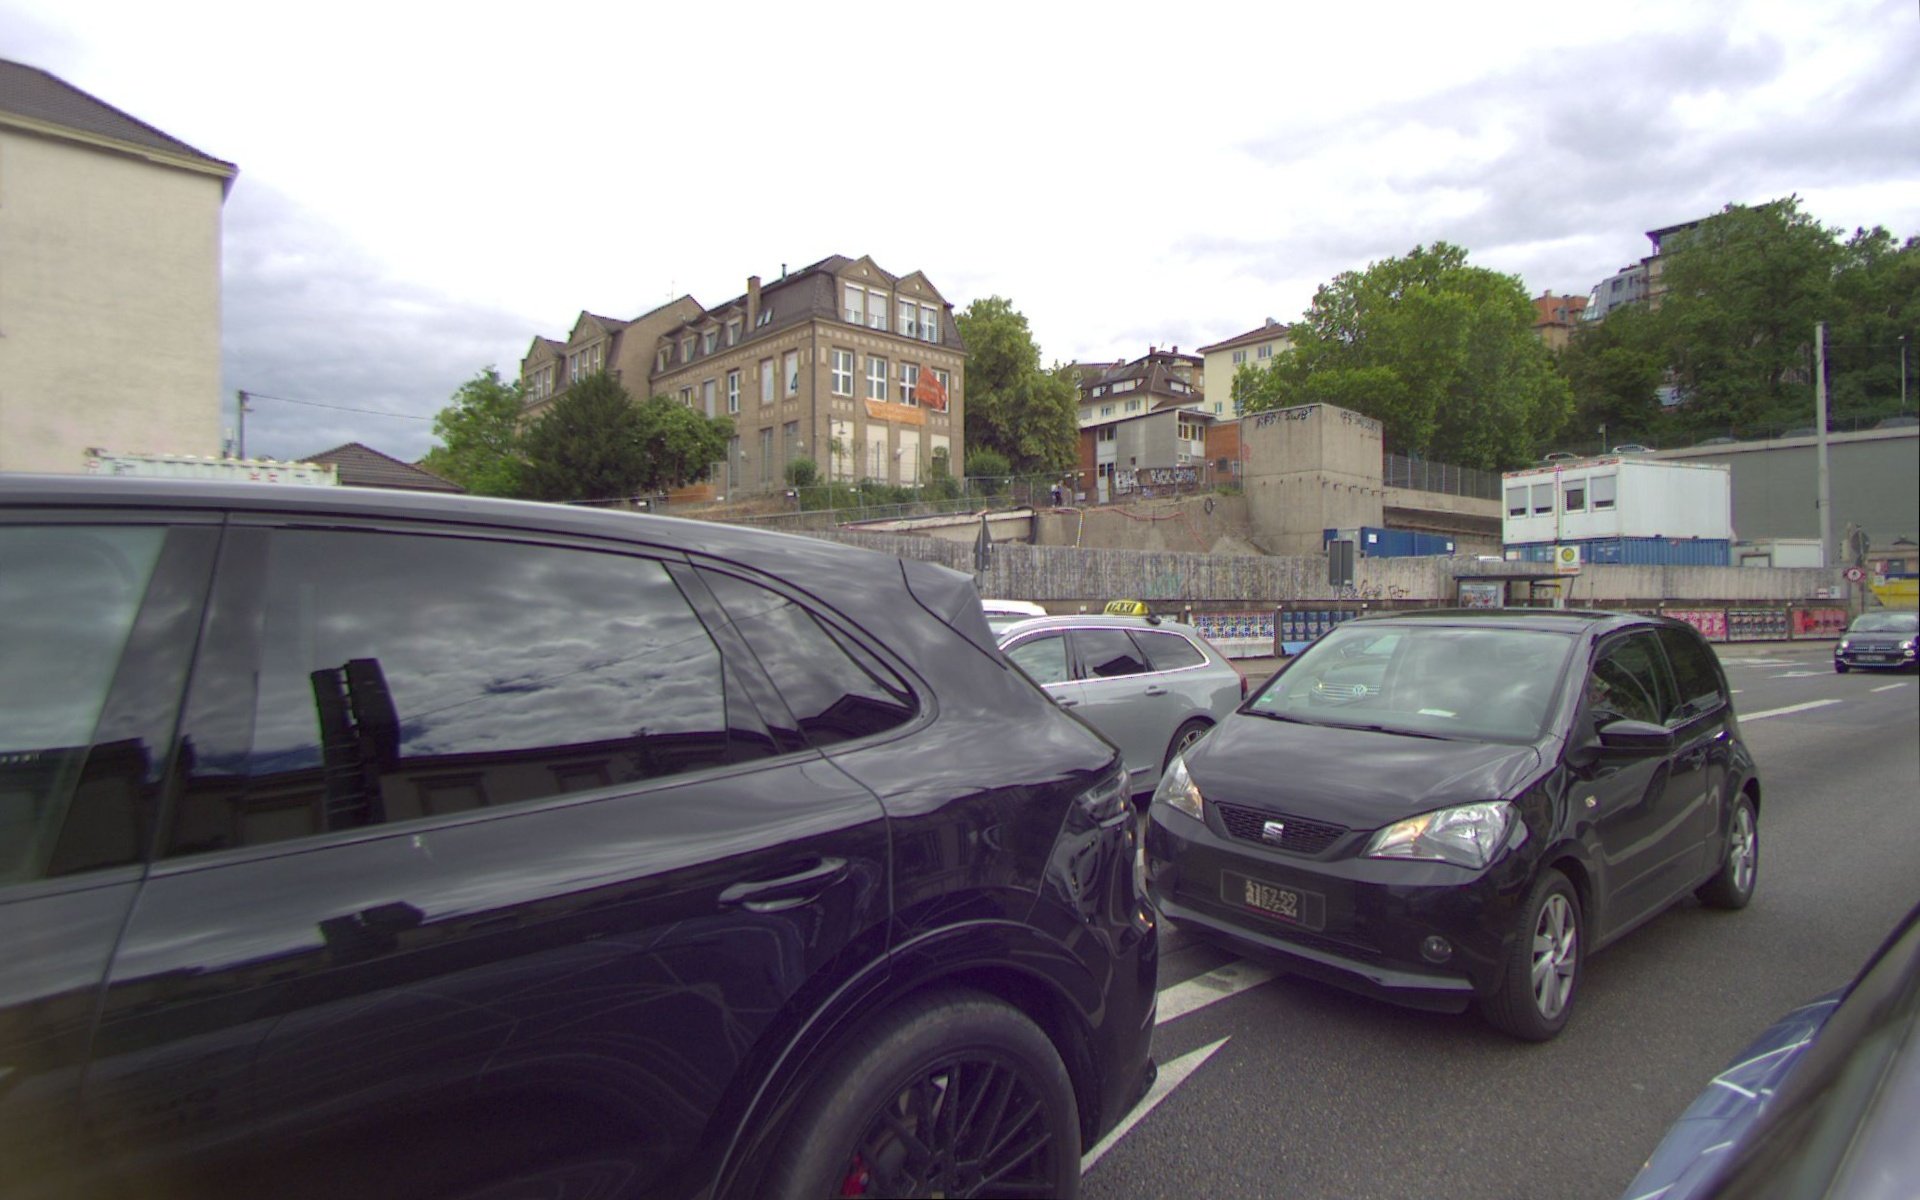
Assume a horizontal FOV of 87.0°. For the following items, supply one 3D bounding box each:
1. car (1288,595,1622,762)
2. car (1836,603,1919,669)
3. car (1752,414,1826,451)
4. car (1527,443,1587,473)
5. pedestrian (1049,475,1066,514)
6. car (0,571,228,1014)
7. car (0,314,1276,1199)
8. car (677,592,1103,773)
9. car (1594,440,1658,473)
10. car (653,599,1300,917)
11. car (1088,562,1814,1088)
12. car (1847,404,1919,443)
[{"bbox_3d":[5.850,0.743,11.724,4.468,1.579,1.704,0,0,-38],"label":"car"},{"bbox_3d":[22.756,0.808,24.336,3.925,1.462,1.731,0,-1,-36],"label":"car"},{"bbox_3d":[60.611,-12.234,74.023,1.966,2.039,3.991,0,1,-43],"label":"car"},{"bbox_3d":[50.245,-11.928,85.235,3.988,2.039,1.968,0,1,45],"label":"car"},{"bbox_3d":[5.280,-5.711,54.889,0.656,2.039,0.644,0,0,-45],"label":"pedestrian"},{"bbox_3d":[-4.884,0.686,3.425,3.812,1.563,1.667,0,-1,-40],"label":"car"},{"bbox_3d":[-1.623,0.577,1.707,4.552,1.707,1.959,0,-1,-40],"label":"car"},{"bbox_3d":[-0.594,0.716,10.948,4.470,1.579,1.703,0,0,-40],"label":"car"},{"bbox_3d":[53.561,-11.520,81.446,3.988,2.039,1.968,0,1,45],"label":"car"},{"bbox_3d":[0.343,0.808,7.314,4.570,1.591,1.826,0,0,-39],"label":"car"},{"bbox_3d":[2.526,0.653,4.792,3.812,1.515,1.667,0,-1,-40],"label":"car"},{"bbox_3d":[64.151,-12.204,70.056,1.966,2.039,3.991,0,1,-43],"label":"car"}]
